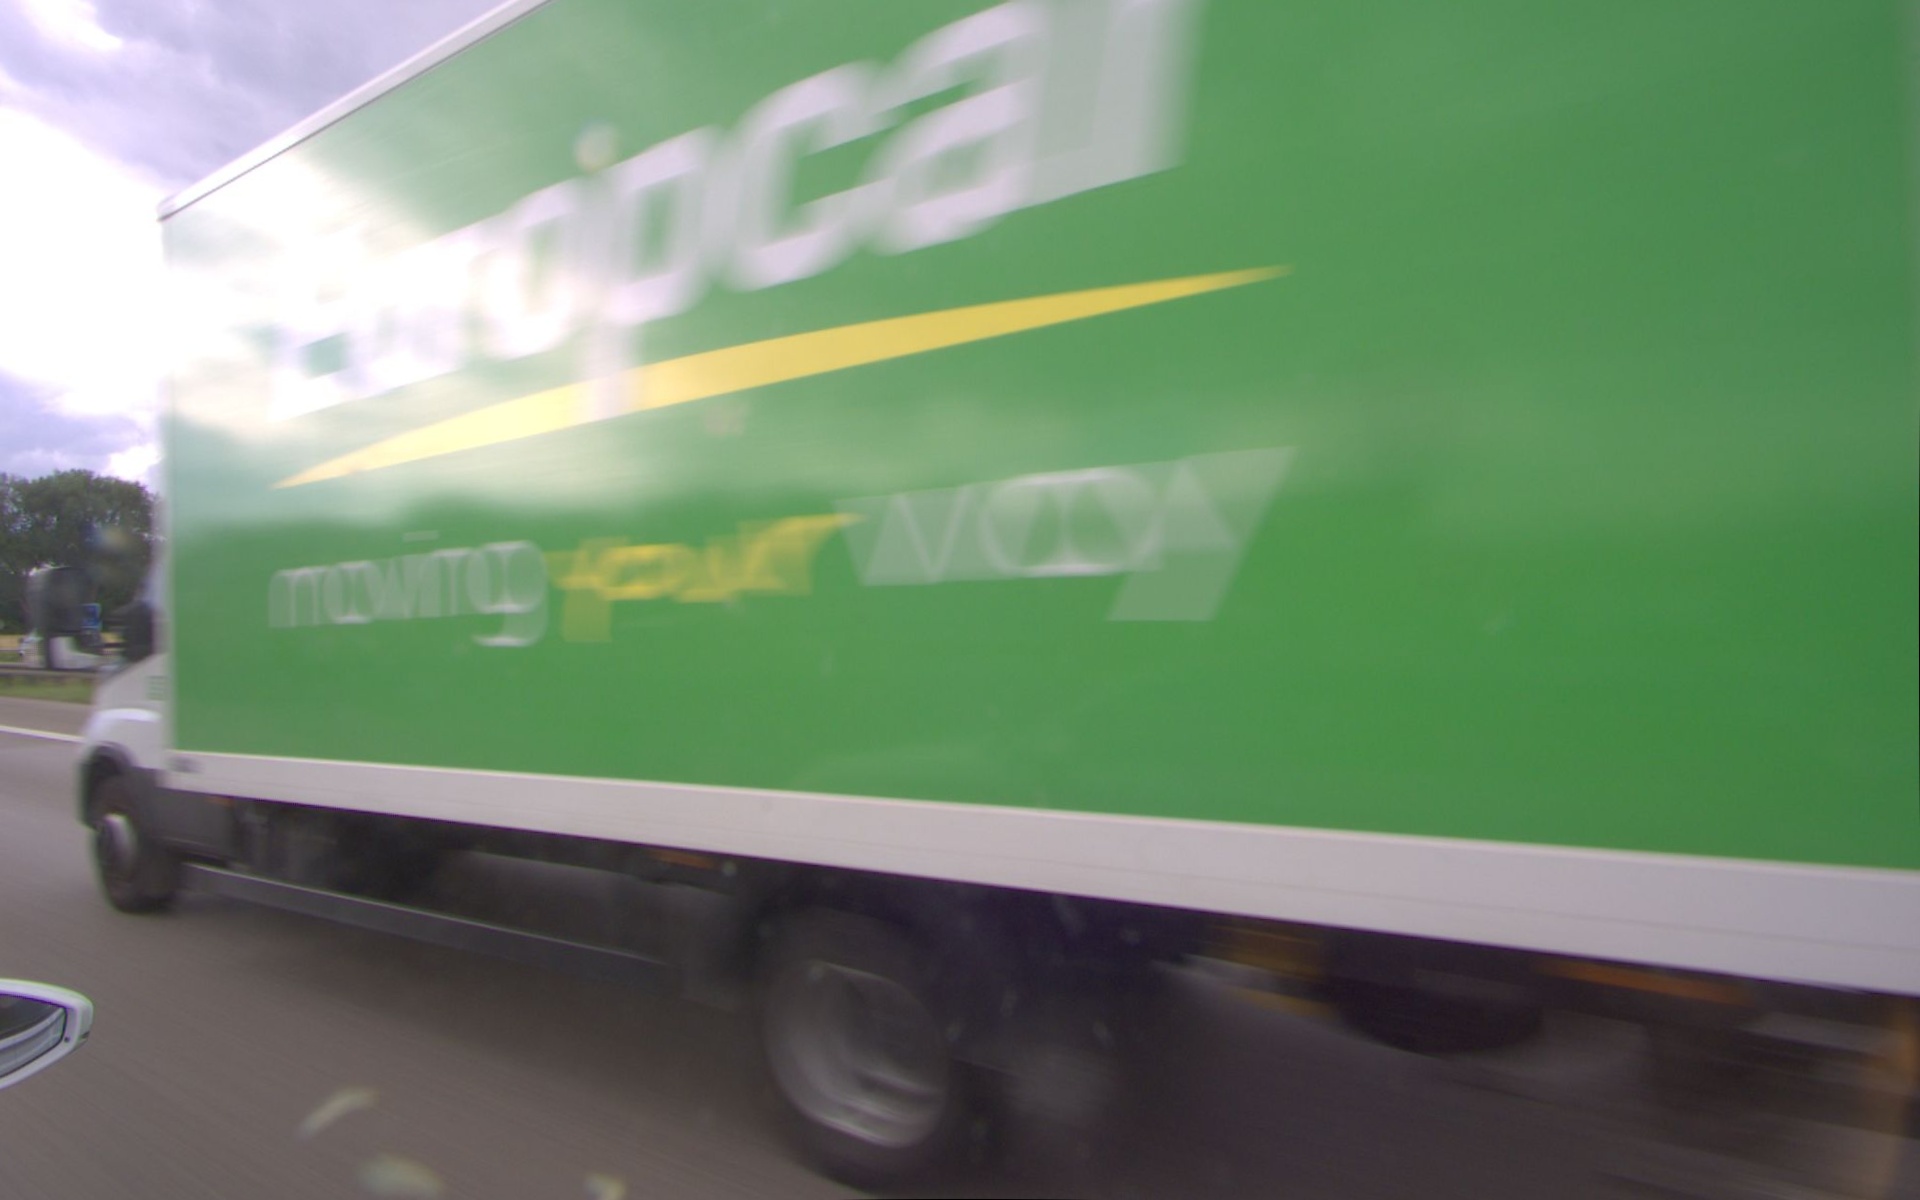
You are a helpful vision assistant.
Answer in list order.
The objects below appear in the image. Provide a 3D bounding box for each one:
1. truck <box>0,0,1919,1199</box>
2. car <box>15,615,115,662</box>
[{"bbox_3d":[-1.568,-0.175,4.510,8.933,3.549,2.765,-1,-2,32],"label":"truck"},{"bbox_3d":[-41.592,1.770,46.514,4.886,2.089,2.140,-1,-2,32],"label":"car"}]
